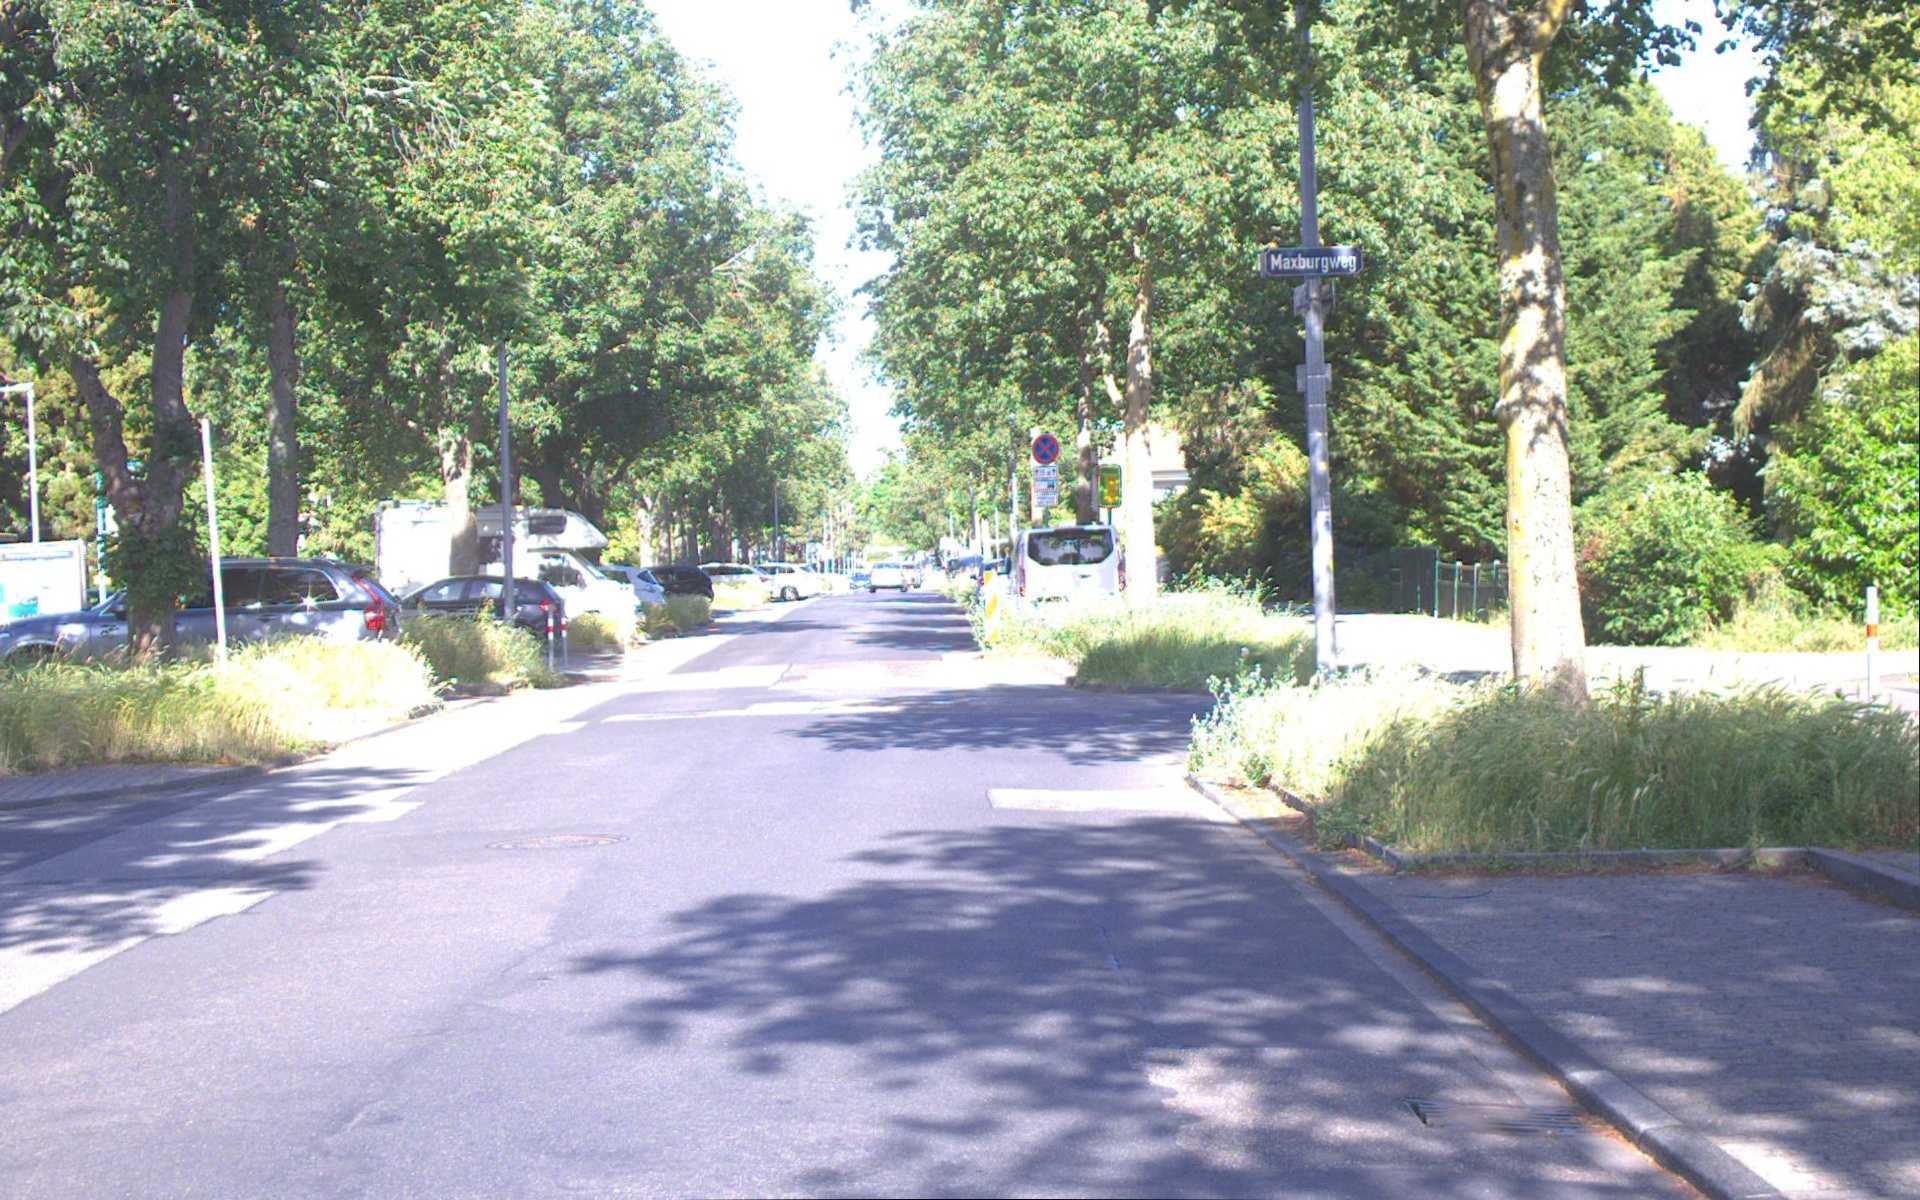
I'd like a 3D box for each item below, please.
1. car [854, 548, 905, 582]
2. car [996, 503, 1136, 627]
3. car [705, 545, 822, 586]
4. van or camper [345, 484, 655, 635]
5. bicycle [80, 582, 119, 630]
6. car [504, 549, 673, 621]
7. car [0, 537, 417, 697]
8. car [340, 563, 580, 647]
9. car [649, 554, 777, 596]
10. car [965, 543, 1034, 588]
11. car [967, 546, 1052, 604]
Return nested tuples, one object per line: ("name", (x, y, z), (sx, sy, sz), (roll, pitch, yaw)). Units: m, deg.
("car", (-3.779, -1.635, 160.812), (1.993, 1.503, 3.659), (1, 0, -8))
("car", (1.773, -0.587, 59.225), (1.993, 2.007, 5.197), (1, 0, -2))
("car", (-7.595, -1.348, 132.999), (4.211, 1.450, 2.000), (-1, 1, 6))
("van or camper", (-9.063, -0.789, 67.989), (5.776, 2.795, 2.000), (1, 0, 1))
("bicycle", (-22.419, 0.136, 89.538), (0.703, 1.172, 4.058), (-2, 1, -17))
("car", (-9.129, -0.376, 84.728), (3.986, 1.655, 1.967), (-1, 1, -2))
("car", (-8.990, 0.186, 40.108), (5.060, 1.722, 2.000), (1, 0, -4))
("car", (-8.870, 0.089, 61.178), (3.987, 1.445, 1.639), (0, 0, 3))
("car", (-9.383, -0.966, 130.813), (4.671, 1.498, 2.000), (-1, 1, 1))
("car", (1.467, -1.279, 129.518), (1.993, 1.616, 4.382), (1, 0, -7))
("car", (1.417, -0.695, 96.711), (1.994, 1.505, 3.999), (-3, 0, 6))
